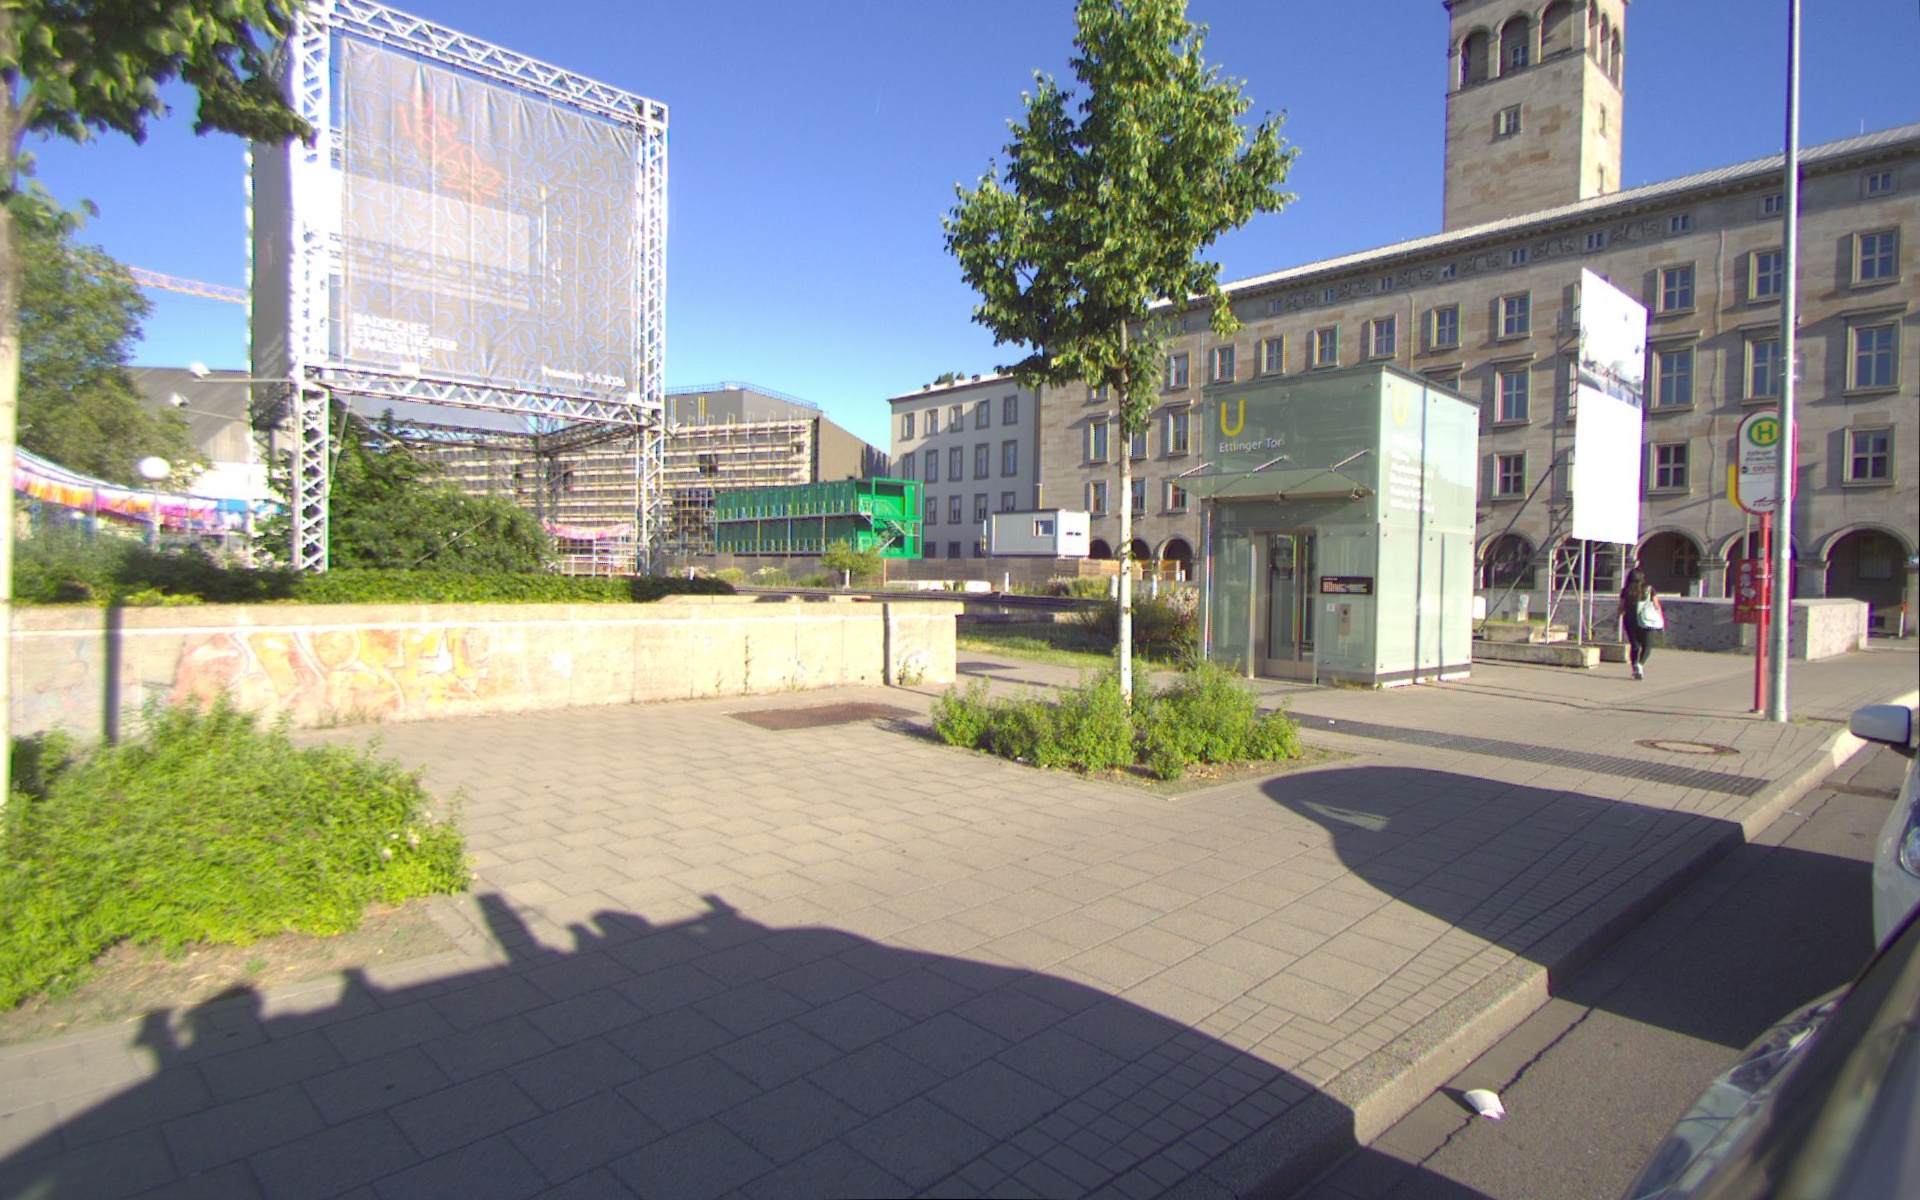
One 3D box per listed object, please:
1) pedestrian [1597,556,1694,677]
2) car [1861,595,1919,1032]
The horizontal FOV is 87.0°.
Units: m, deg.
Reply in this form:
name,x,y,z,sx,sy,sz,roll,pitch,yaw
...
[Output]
name,x,y,z,sx,sy,sz,roll,pitch,yaw
pedestrian,10.825,0.236,15.980,1.053,1.808,0.942,0,3,-41
car,5.149,0.717,4.036,3.818,1.467,1.678,0,0,-38
